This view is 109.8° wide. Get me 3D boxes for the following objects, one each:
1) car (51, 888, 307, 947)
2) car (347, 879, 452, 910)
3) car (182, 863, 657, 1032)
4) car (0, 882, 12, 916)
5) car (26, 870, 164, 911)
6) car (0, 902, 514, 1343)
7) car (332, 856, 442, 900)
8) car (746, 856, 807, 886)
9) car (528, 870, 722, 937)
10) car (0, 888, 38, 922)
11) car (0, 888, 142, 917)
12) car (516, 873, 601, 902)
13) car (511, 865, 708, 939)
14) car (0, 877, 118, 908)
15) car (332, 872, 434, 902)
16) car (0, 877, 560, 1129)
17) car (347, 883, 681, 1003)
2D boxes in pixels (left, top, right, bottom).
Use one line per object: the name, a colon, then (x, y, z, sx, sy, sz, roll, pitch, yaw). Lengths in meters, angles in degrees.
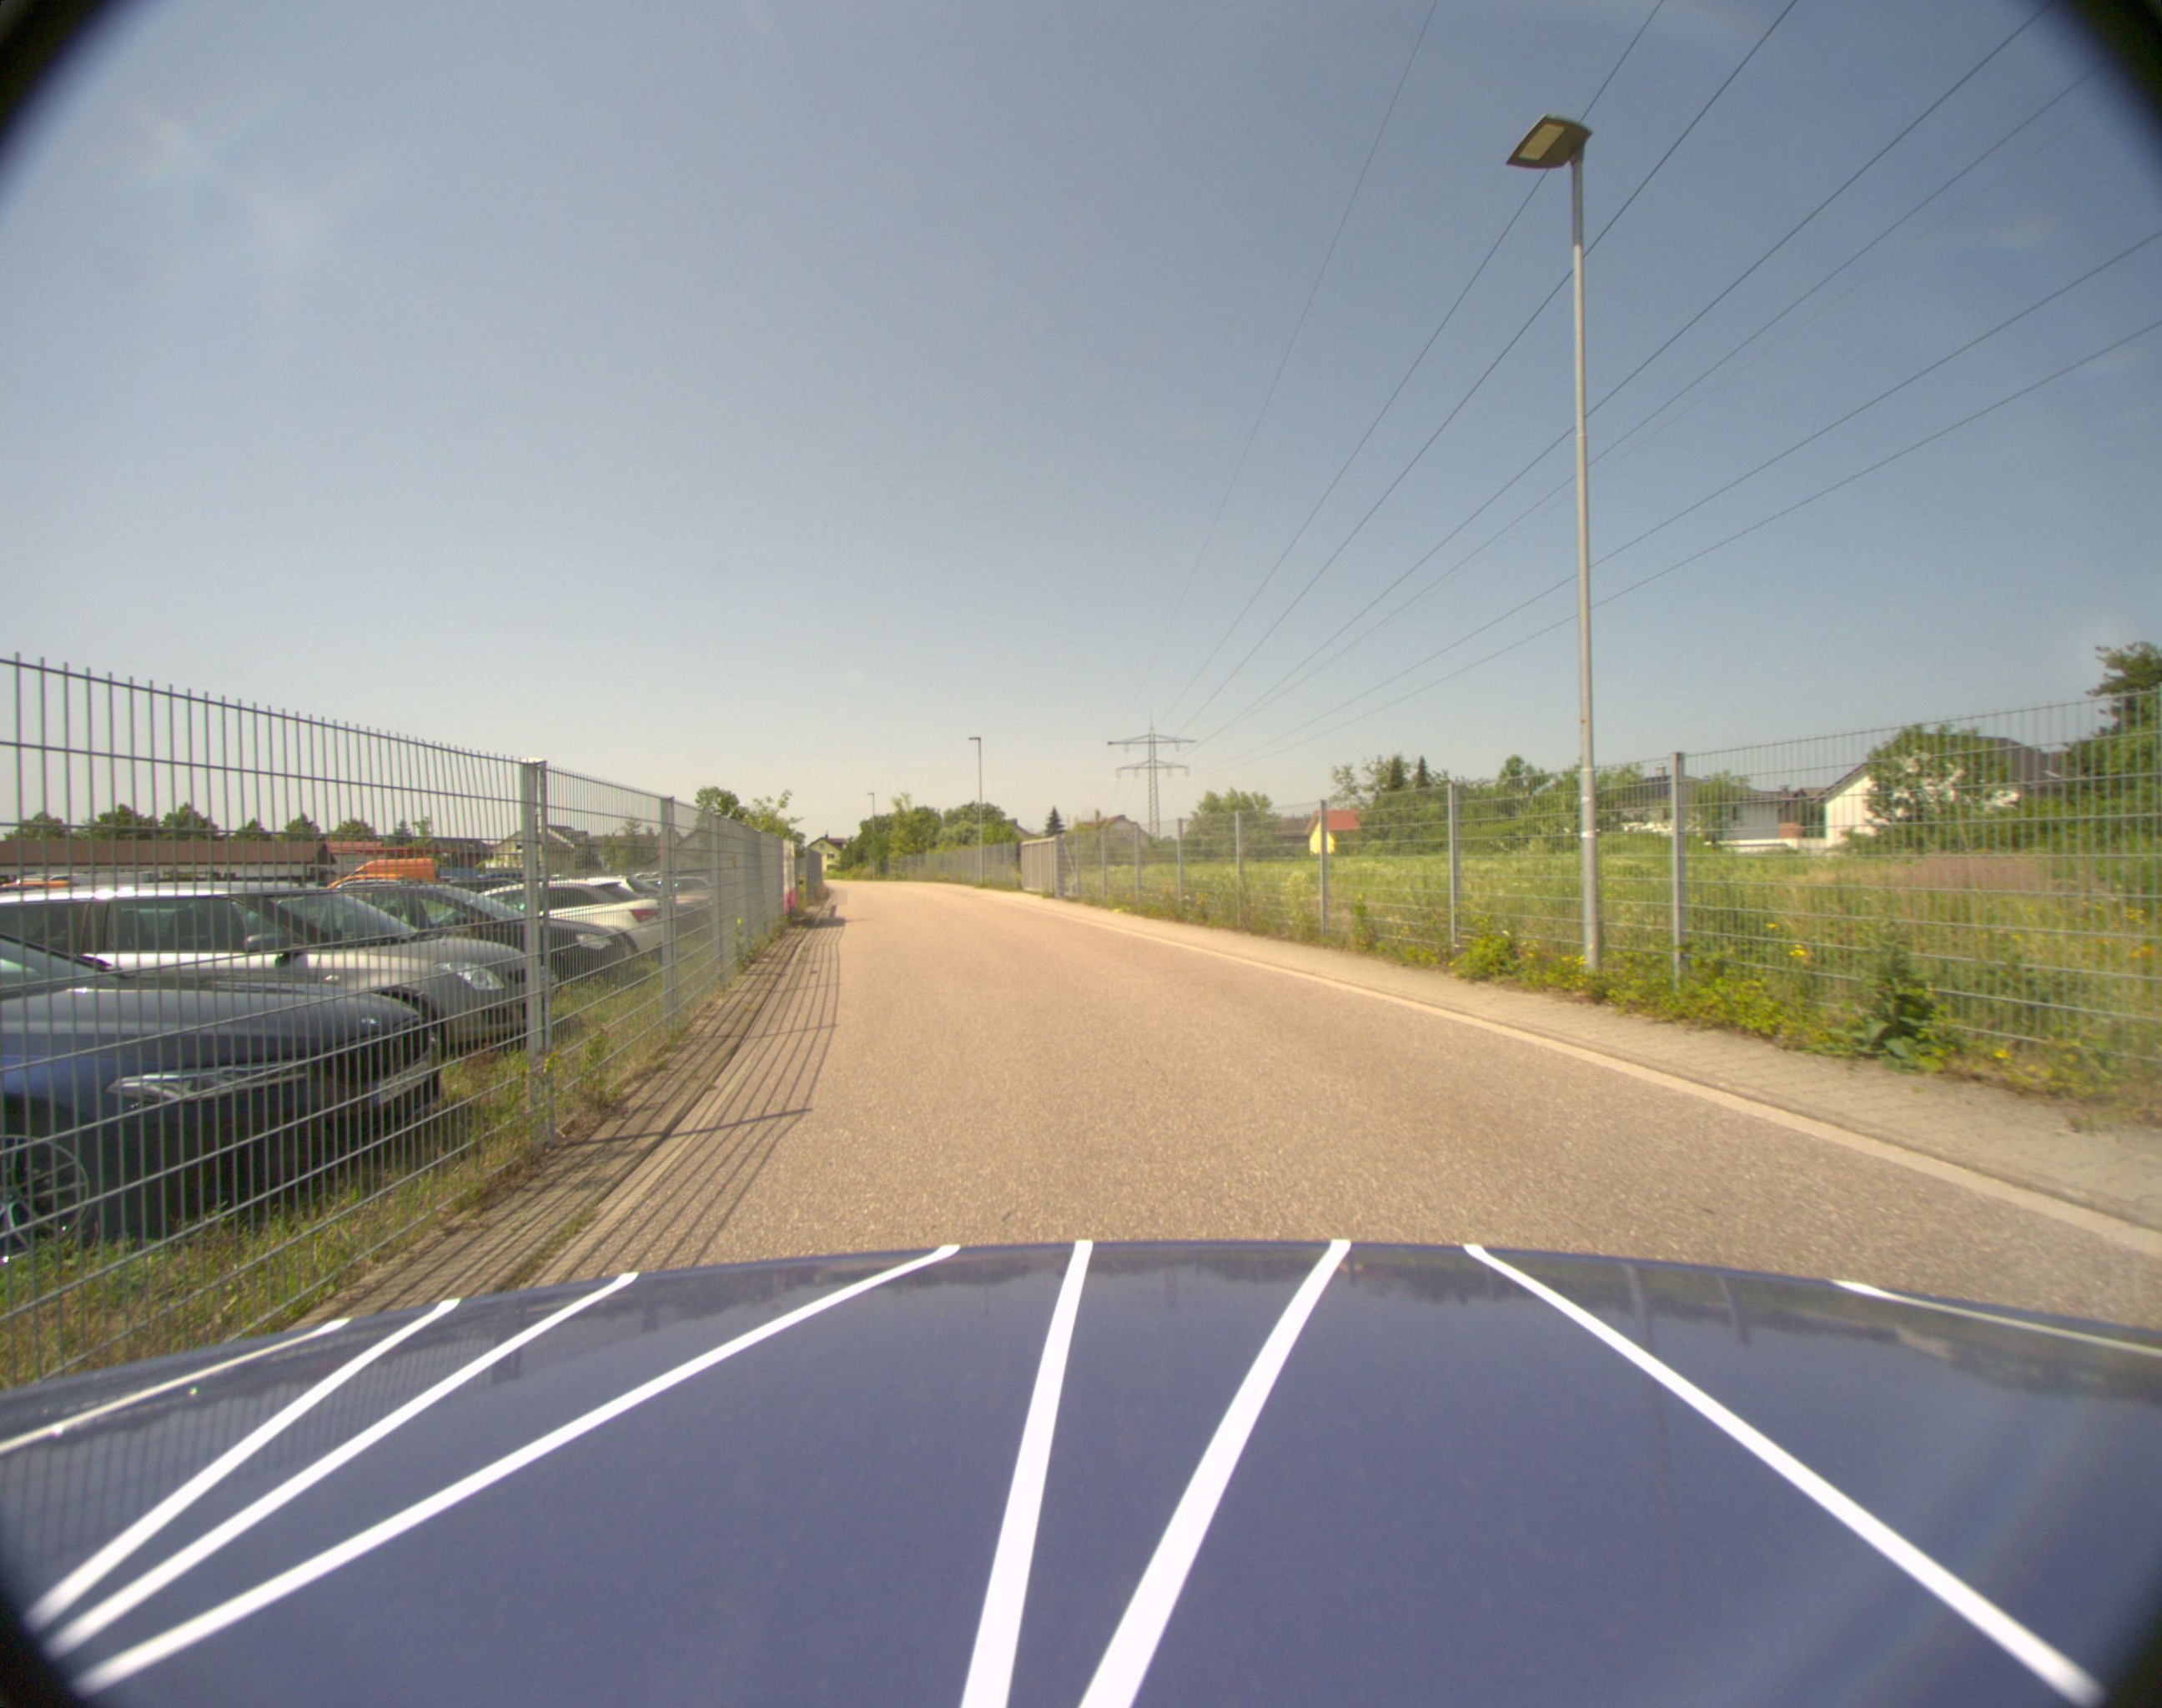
car: (-26.192, 1.790, 22.326, 4.531, 1.343, 1.623, -2, 0, -31)
car: (-35.087, 2.049, 39.243, 3.836, 1.453, 1.585, 0, -1, -32)
car: (-7.128, 0.914, 8.711, 3.663, 1.469, 1.748, -1, 2, -19)
car: (-48.714, 1.970, 31.706, 4.398, 1.476, 1.749, 0, -1, -35)
car: (-56.145, 2.057, 43.421, 4.398, 2.158, 1.969, 0, -1, -35)
car: (-5.524, 1.084, 3.261, 4.554, 1.466, 1.823, -1, 0, -15)
car: (-43.169, 1.459, 47.423, 4.754, 2.569, 1.976, -1, -1, -32)
car: (-22.060, 1.219, 55.165, 4.004, 2.002, 1.996, -1, 0, -23)
car: (-10.837, 1.132, 18.348, 3.677, 1.346, 1.738, -2, 1, -18)
car: (-49.864, 2.292, 33.384, 4.398, 1.476, 1.749, 0, -1, -35)
car: (-54.437, 2.572, 40.987, 4.397, 1.369, 1.838, 0, -1, -32)
car: (-28.401, 1.789, 41.437, 3.780, 1.428, 1.608, 0, -1, -32)
car: (-9.893, 0.957, 16.211, 3.281, 1.346, 1.525, -2, 1, -21)
car: (-53.092, 1.963, 38.855, 4.398, 1.476, 1.969, 0, -1, -35)
car: (-37.647, 1.751, 41.119, 3.836, 1.453, 1.585, 0, -1, -32)
car: (-6.459, 1.006, 5.944, 3.553, 1.493, 1.709, -1, 0, -19)
car: (-7.972, 1.195, 11.088, 3.538, 1.381, 1.634, -1, 0, -19)
